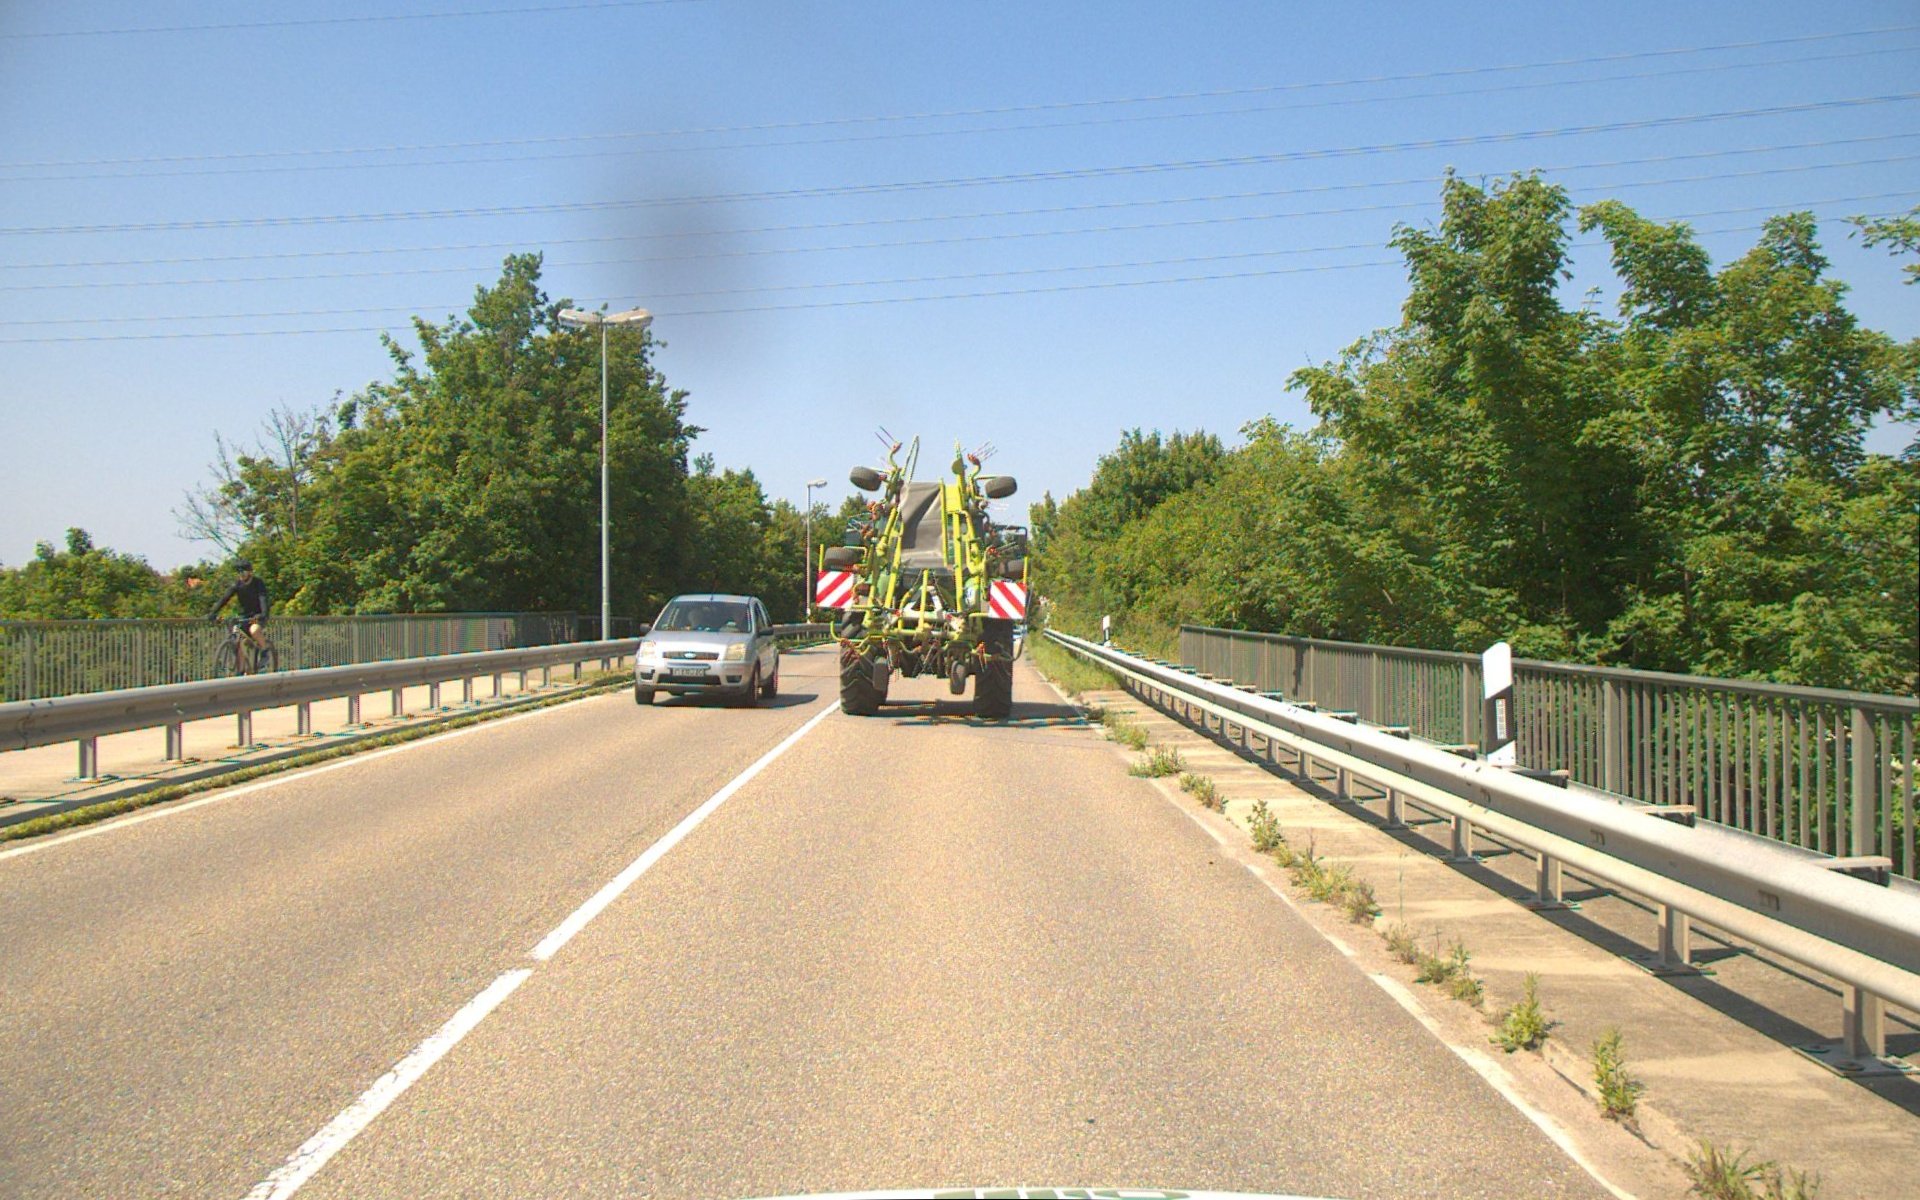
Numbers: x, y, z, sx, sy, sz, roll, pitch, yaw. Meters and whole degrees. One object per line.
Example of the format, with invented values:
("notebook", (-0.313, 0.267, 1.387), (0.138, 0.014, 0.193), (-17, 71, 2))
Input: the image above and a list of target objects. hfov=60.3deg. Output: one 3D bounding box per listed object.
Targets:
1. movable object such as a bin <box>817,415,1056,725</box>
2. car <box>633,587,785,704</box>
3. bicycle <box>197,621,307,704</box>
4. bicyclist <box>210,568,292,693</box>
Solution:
("movable object such as a bin", (-0.365, -0.352, 21.738), (2.700, 3.504, 5.667), (1, 0, -2))
("car", (-3.557, 0.623, 24.022), (1.633, 1.543, 3.665), (1, -1, 0))
("bicycle", (-9.570, 0.822, 22.451), (0.664, 1.019, 2.118), (0, 1, -3))
("bicyclist", (-9.617, 0.402, 22.454), (0.750, 1.662, 0.894), (0, 1, -3))
